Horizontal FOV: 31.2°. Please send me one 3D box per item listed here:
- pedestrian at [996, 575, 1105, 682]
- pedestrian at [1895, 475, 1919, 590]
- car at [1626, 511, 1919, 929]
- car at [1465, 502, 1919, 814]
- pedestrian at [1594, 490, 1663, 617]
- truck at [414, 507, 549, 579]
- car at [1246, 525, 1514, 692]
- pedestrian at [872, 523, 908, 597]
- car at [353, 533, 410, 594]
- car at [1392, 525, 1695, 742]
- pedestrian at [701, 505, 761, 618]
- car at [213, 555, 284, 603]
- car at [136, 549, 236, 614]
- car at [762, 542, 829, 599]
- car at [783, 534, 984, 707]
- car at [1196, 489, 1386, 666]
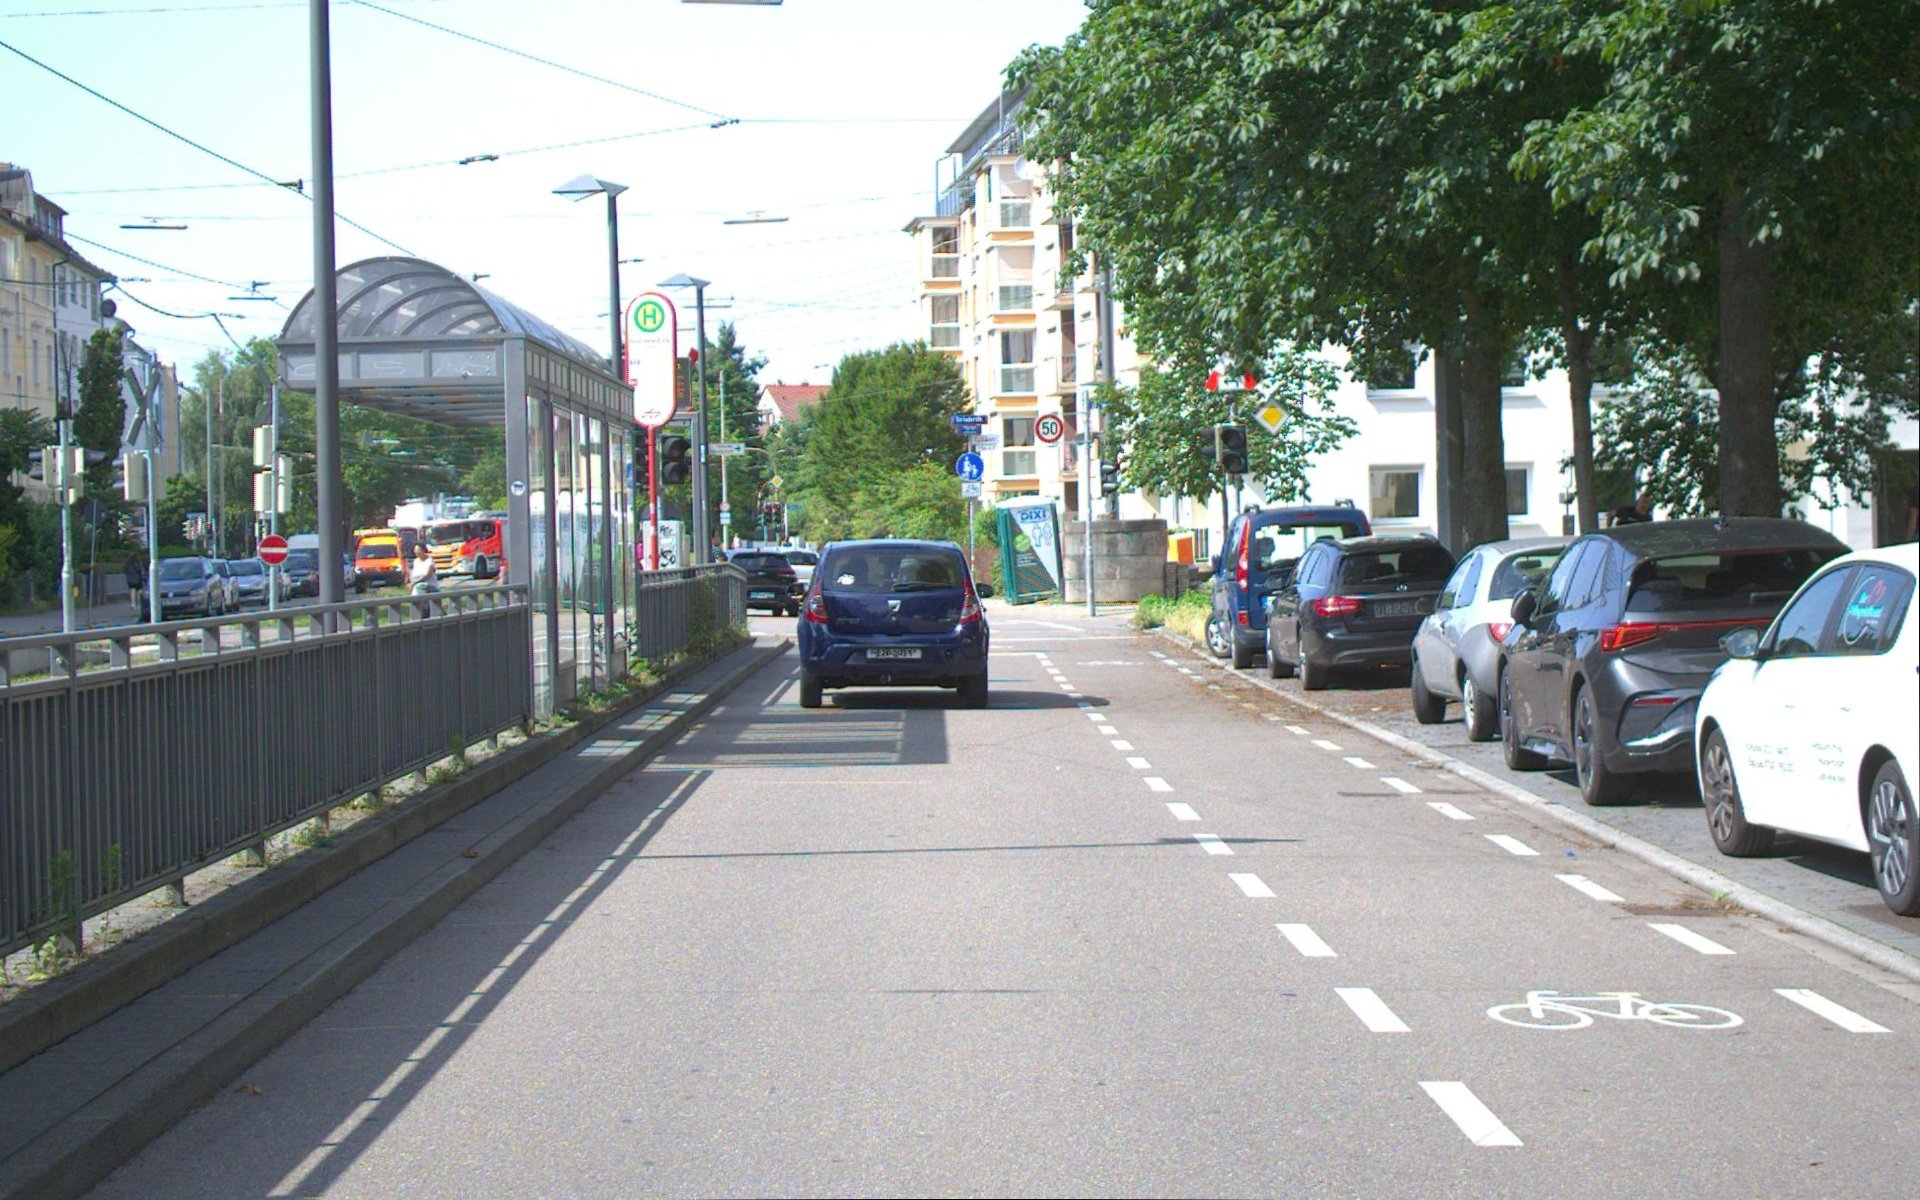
[{"bbox_3d":[1.731,0.521,67.169,1.993,2.007,4.000,0,0,0],"label":"pedestrian"},{"bbox_3d":[13.515,-0.951,48.178,0.631,1.590,0.540,-2,0,-3],"label":"pedestrian"},{"bbox_3d":[4.367,0.385,14.949,1.835,1.518,4.254,-3,1,-3],"label":"car"},{"bbox_3d":[4.254,0.255,20.548,1.725,1.578,4.677,-2,1,0],"label":"car"},{"bbox_3d":[9.107,-0.640,46.835,0.744,1.690,0.767,-2,1,0],"label":"pedestrian"},{"bbox_3d":[-22.583,-2.747,162.750,2.599,3.175,8.374,-2,1,20],"label":"truck"},{"bbox_3d":[4.176,0.027,34.961,1.917,1.437,4.797,-4,2,-2],"label":"car"},{"bbox_3d":[-1.753,-1.009,86.303,0.701,1.783,1.030,-4,1,-5],"label":"pedestrian"},{"bbox_3d":[-22.418,-1.447,133.386,1.993,2.267,4.835,2,1,-8],"label":"car"},{"bbox_3d":[4.329,0.209,25.960,1.590,1.440,3.598,-3,1,0],"label":"car"},{"bbox_3d":[-3.424,-0.573,51.387,0.845,1.662,0.799,-2,0,-3],"label":"pedestrian"},{"bbox_3d":[-21.877,-0.650,105.807,1.768,1.437,4.001,0,0,-6],"label":"car"},{"bbox_3d":[-20.208,-0.496,89.877,1.993,1.639,4.001,0,0,-4],"label":"car"},{"bbox_3d":[-4.340,-0.769,90.235,1.622,1.460,3.511,0,0,-5],"label":"car"},{"bbox_3d":[-0.707,0.162,32.030,1.744,1.502,4.000,0,0,-1],"label":"car"},{"bbox_3d":[3.824,-0.316,40.313,1.823,1.889,4.184,-3,2,1],"label":"car"}]
